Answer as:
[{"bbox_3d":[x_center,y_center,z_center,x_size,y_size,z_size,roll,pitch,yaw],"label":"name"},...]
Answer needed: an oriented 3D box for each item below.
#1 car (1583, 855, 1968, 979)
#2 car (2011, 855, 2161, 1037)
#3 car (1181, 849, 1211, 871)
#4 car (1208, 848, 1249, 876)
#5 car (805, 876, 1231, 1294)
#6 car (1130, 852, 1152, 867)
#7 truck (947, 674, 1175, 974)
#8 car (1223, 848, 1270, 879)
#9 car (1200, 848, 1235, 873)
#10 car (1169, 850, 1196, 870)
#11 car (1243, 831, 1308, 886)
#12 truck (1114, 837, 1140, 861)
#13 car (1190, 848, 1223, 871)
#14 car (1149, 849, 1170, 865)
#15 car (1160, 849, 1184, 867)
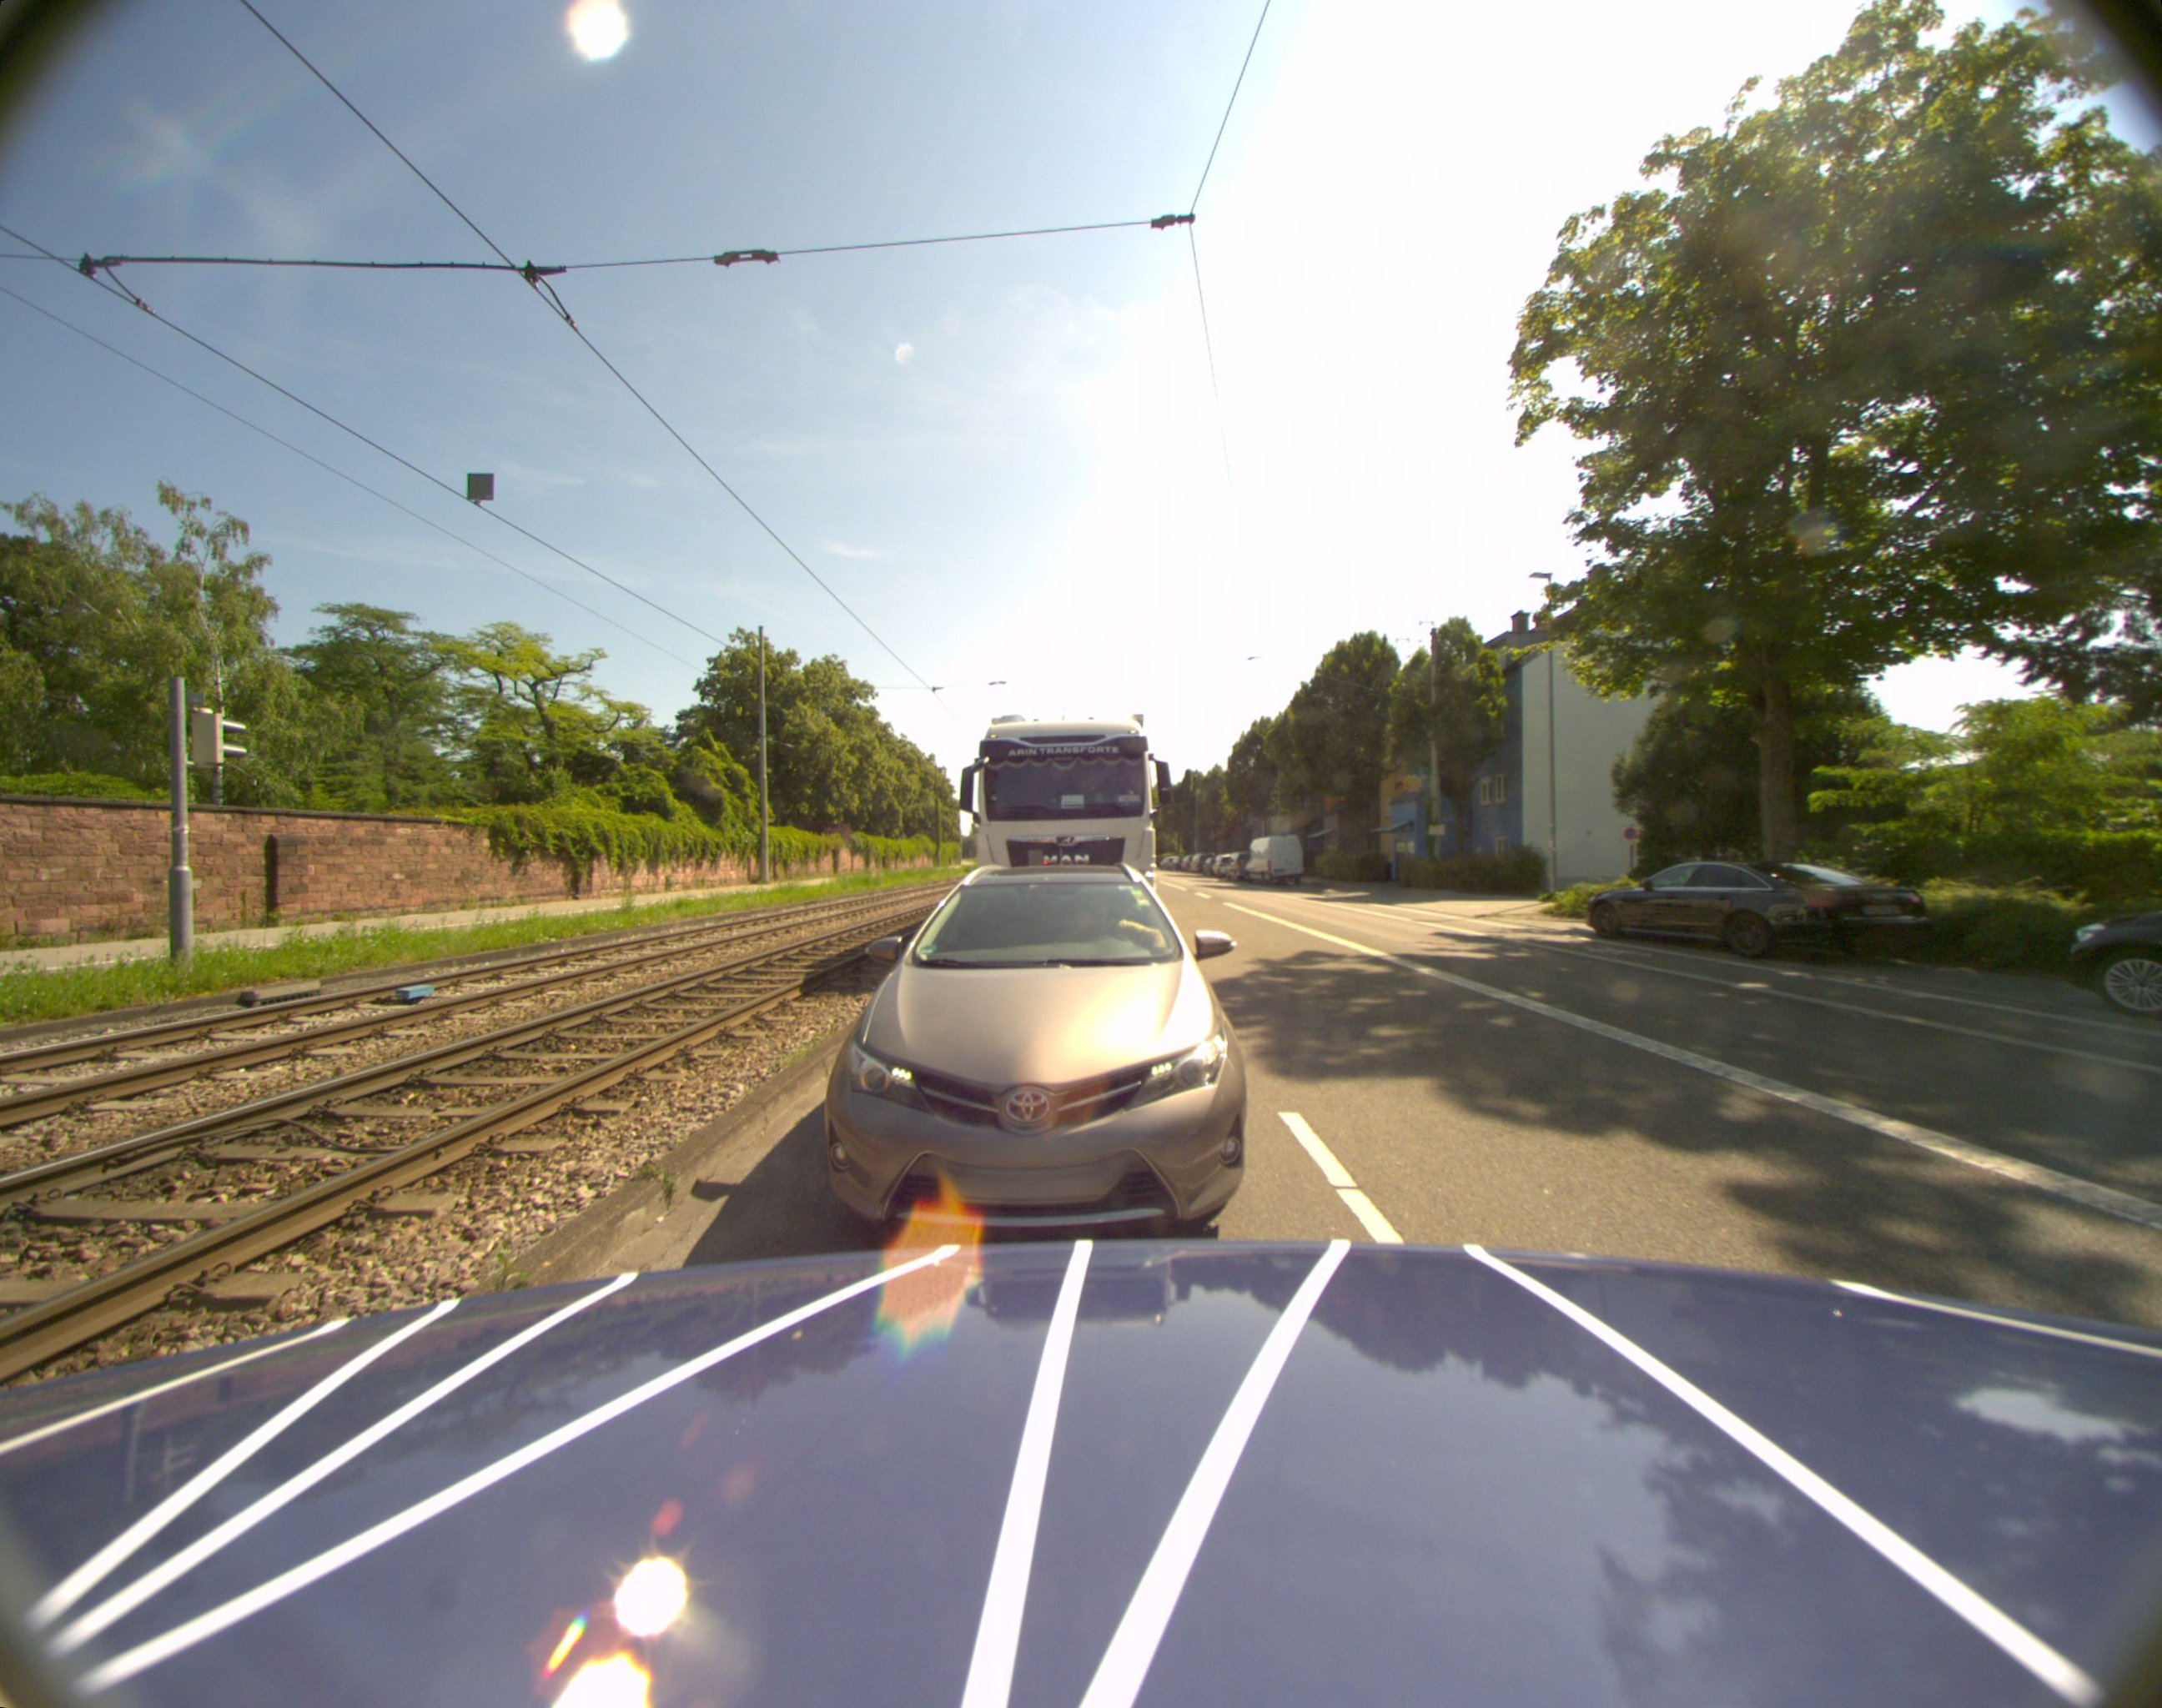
[{"bbox_3d":[10.536,0.824,12.161,1.868,1.562,4.621,-1,0,-2],"label":"car"},{"bbox_3d":[10.591,0.825,5.572,1.868,1.562,4.621,-2,0,0],"label":"car"},{"bbox_3d":[11.034,0.540,73.379,1.998,1.795,4.769,-6,0,0],"label":"car"},{"bbox_3d":[11.091,0.564,57.381,1.998,1.795,4.769,-6,0,0],"label":"car"},{"bbox_3d":[-0.209,0.913,4.814,1.573,1.422,4.000,0,0,1],"label":"car"},{"bbox_3d":[8.293,0.770,105.571,1.999,1.795,5.111,-6,0,-4],"label":"car"},{"bbox_3d":[-0.162,-0.406,17.246,2.935,3.856,14.912,0,0,1],"label":"truck"},{"bbox_3d":[11.149,0.623,51.448,1.998,1.795,4.769,-6,0,0],"label":"car"},{"bbox_3d":[11.234,0.532,62.864,1.998,1.795,4.256,-6,0,0],"label":"car"},{"bbox_3d":[10.584,0.614,79.169,1.998,1.795,4.769,-6,0,0],"label":"car"},{"bbox_3d":[10.920,0.241,43.152,1.998,2.678,6.214,-6,0,2],"label":"car"},{"bbox_3d":[7.001,-0.704,116.108,2.704,3.263,6.724,-6,0,-5],"label":"truck"},{"bbox_3d":[11.121,0.490,67.675,1.998,1.795,4.769,-6,0,0],"label":"car"},{"bbox_3d":[9.924,0.387,96.836,1.998,1.795,4.769,-6,0,0],"label":"car"},{"bbox_3d":[10.222,0.422,85.912,1.998,1.795,4.769,-6,0,0],"label":"car"}]
